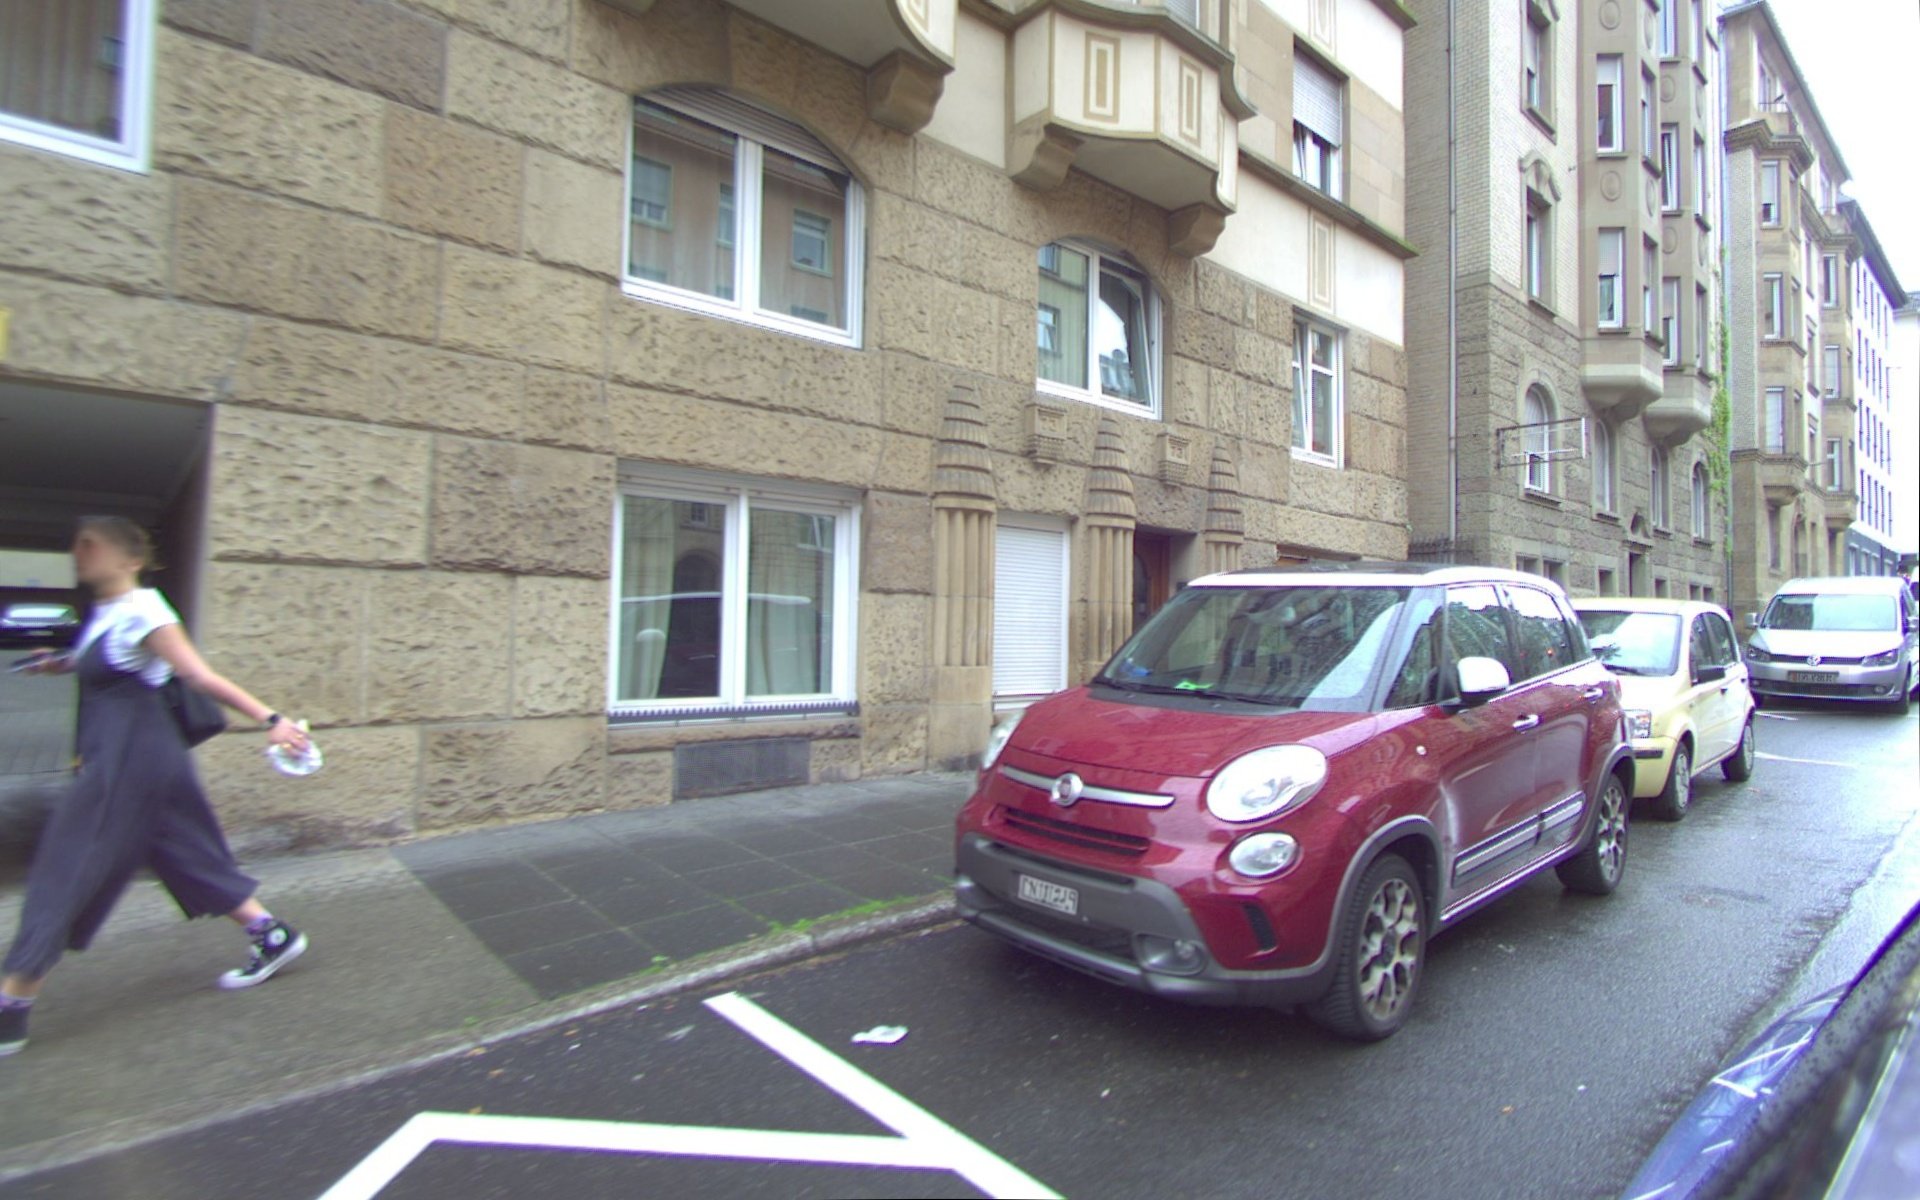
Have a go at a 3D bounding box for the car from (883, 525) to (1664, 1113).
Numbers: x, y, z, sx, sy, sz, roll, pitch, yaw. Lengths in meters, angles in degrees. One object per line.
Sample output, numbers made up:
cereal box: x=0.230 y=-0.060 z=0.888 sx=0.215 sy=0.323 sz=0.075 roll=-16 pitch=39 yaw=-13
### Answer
car: x=1.735 y=0.605 z=4.801 sx=3.932 sy=1.619 sz=1.804 roll=0 pitch=-1 yaw=-42

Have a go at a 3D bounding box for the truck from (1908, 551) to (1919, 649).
truck: x=28.228 y=-0.015 z=28.039 sx=6.036 sy=2.568 sz=2.234 roll=0 pitch=-1 yaw=-41

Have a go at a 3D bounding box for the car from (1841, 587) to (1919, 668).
car: x=19.540 y=0.519 z=20.604 sx=3.860 sy=1.549 sz=1.889 roll=0 pitch=-1 yaw=-41

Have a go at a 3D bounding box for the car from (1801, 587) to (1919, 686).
car: x=16.233 y=0.576 z=17.666 sx=3.934 sy=1.549 sz=1.994 roll=0 pitch=-1 yaw=-45

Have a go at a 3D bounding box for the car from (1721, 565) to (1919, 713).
car: x=12.823 y=0.480 z=14.676 sx=4.380 sy=1.825 sz=1.966 roll=0 pitch=-1 yaw=-41

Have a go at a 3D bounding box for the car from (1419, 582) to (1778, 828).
car: x=5.258 y=0.664 z=8.162 sx=3.517 sy=1.549 sz=1.578 roll=0 pitch=-1 yaw=-43

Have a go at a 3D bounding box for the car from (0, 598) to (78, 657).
car: x=-26.120 y=0.743 z=28.638 sx=1.692 sy=1.541 sz=4.098 roll=0 pitch=-1 yaw=-41

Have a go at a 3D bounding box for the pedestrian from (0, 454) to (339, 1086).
pedestrian: x=-2.723 y=0.470 z=3.297 sx=1.092 sy=1.770 sz=0.743 roll=0 pitch=0 yaw=-41
